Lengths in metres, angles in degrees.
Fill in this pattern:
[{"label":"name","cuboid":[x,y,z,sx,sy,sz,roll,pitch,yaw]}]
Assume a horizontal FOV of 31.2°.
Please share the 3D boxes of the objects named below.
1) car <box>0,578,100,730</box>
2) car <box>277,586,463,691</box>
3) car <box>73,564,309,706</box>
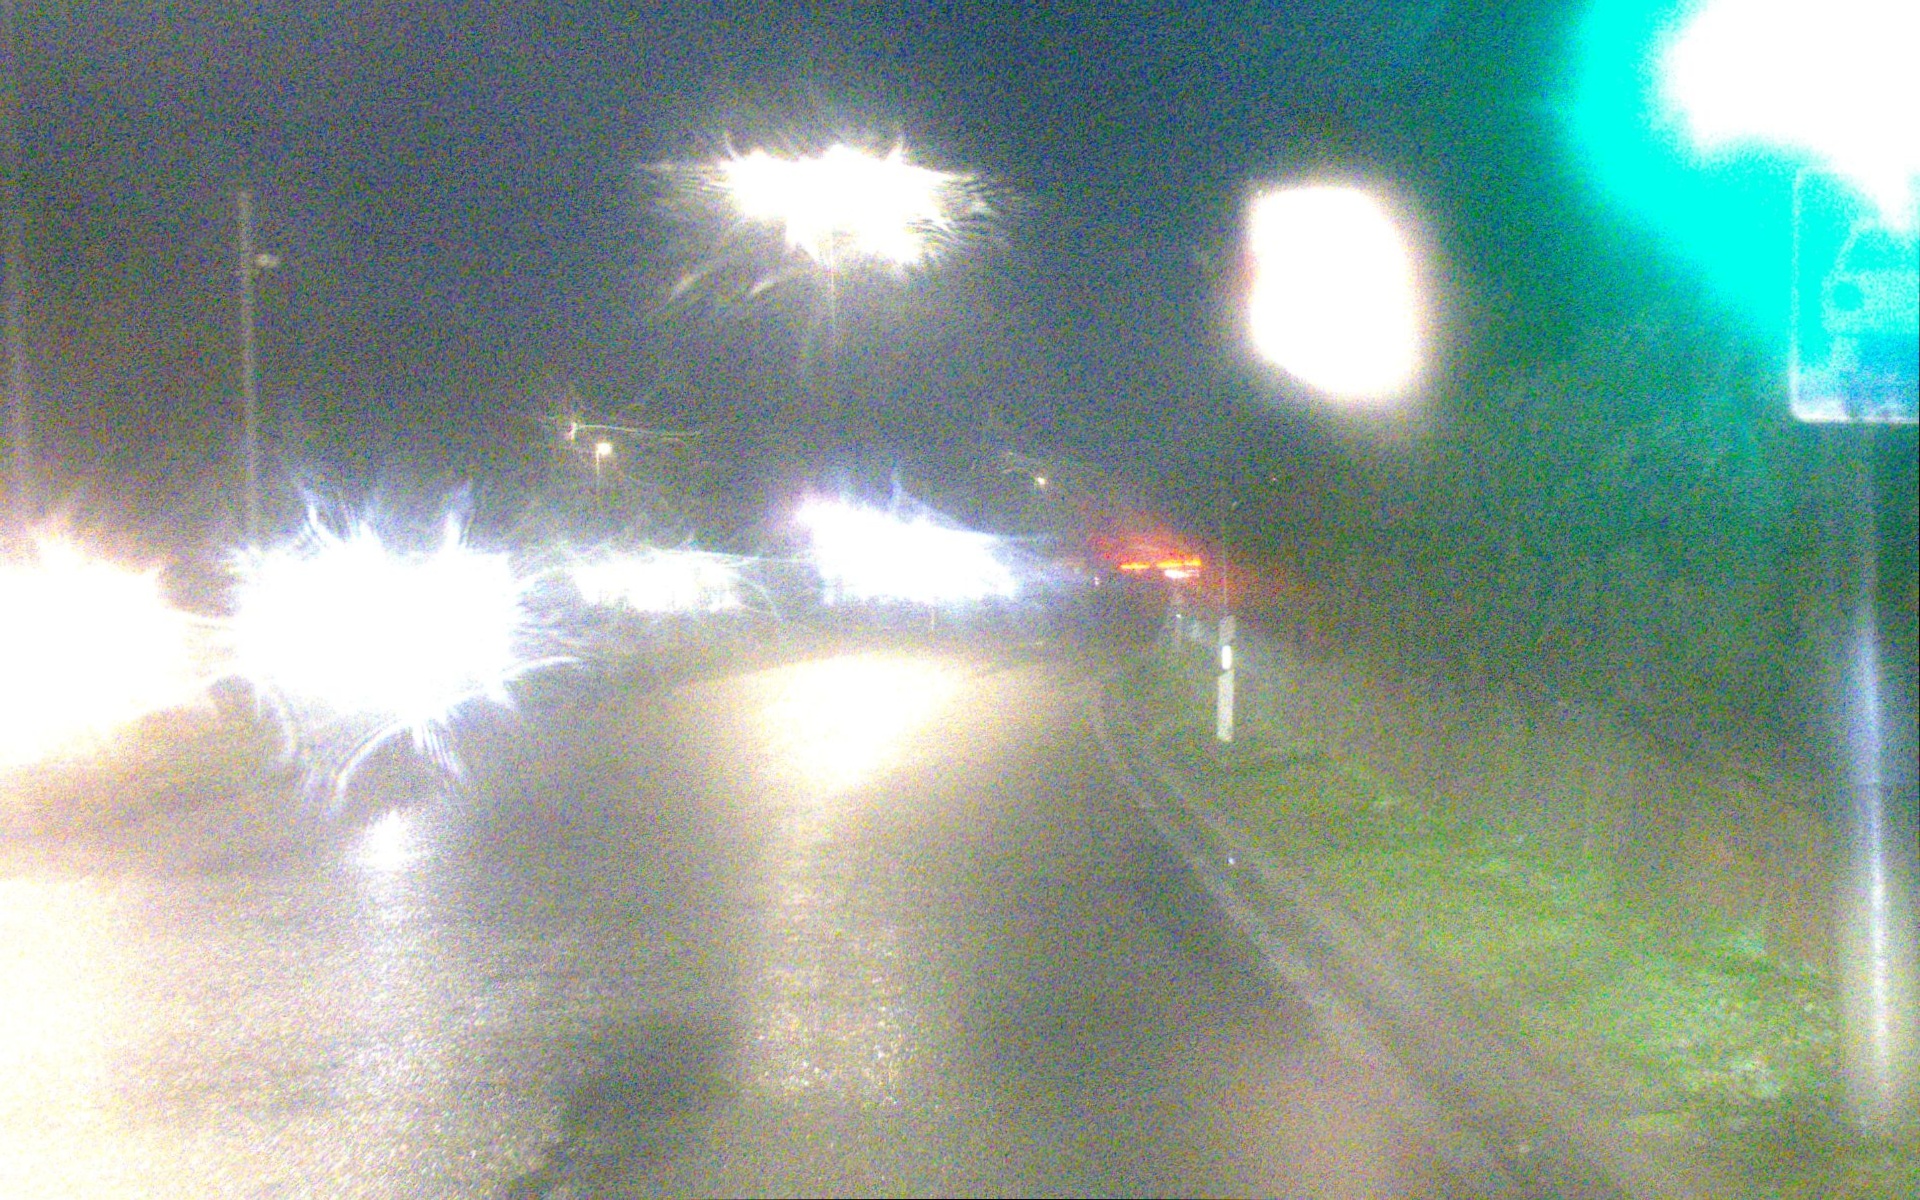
[{"label":"car","cuboid":[-10.311,0.557,35.733,1.585,1.520,3.651,0,-1,4]},{"label":"car","cuboid":[-8.900,0.589,52.232,1.708,1.529,4.599,0,-1,5]},{"label":"car","cuboid":[-9.575,0.433,43.098,1.718,1.697,4.142,0,0,5]}]
